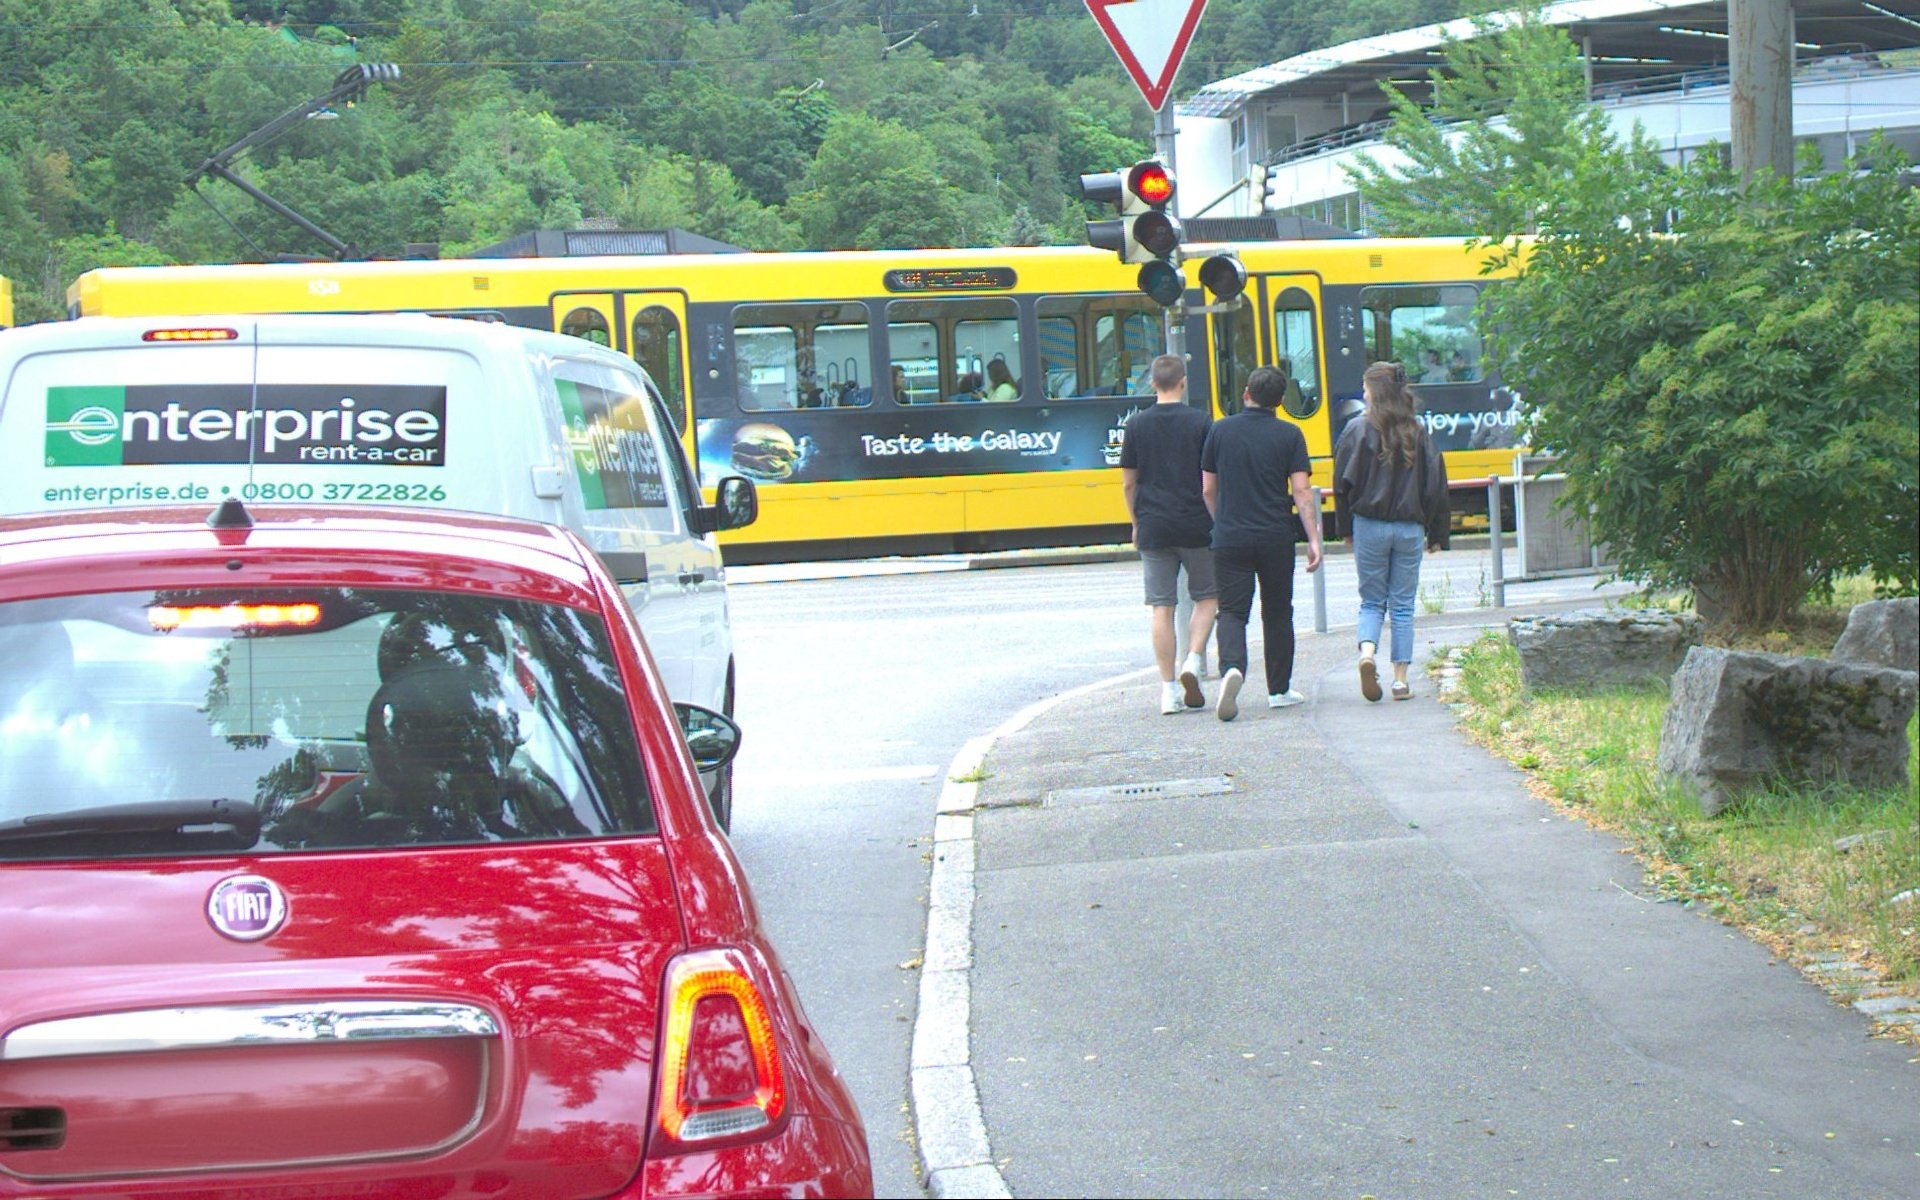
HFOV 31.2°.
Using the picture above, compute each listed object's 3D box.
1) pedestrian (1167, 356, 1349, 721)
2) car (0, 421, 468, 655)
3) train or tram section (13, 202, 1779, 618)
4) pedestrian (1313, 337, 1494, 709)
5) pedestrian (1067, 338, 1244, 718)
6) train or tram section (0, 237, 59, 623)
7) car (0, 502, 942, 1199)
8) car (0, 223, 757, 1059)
[{"bbox_3d":[1.460,-0.307,16.758,0.693,1.708,0.788,-2,2,14],"label":"pedestrian"},{"bbox_3d":[-6.011,-0.485,26.356,4.112,1.578,1.803,-3,2,-18],"label":"car"},{"bbox_3d":[-0.263,-2.221,37.597,19.107,3.653,3.279,-3,2,-19],"label":"train or tram section"},{"bbox_3d":[2.159,-0.378,16.659,0.693,1.733,0.788,-2,2,15],"label":"pedestrian"},{"bbox_3d":[0.999,-0.368,17.395,0.693,1.850,0.788,-3,2,12],"label":"pedestrian"},{"bbox_3d":[-18.307,-1.169,31.672,19.107,3.653,3.279,-3,2,-16],"label":"train or tram section"},{"bbox_3d":[-1.164,0.594,5.532,1.638,1.451,3.432,-2,2,-11],"label":"car"},{"bbox_3d":[-1.917,0.027,11.330,1.989,2.099,4.762,-3,2,2],"label":"car"}]
